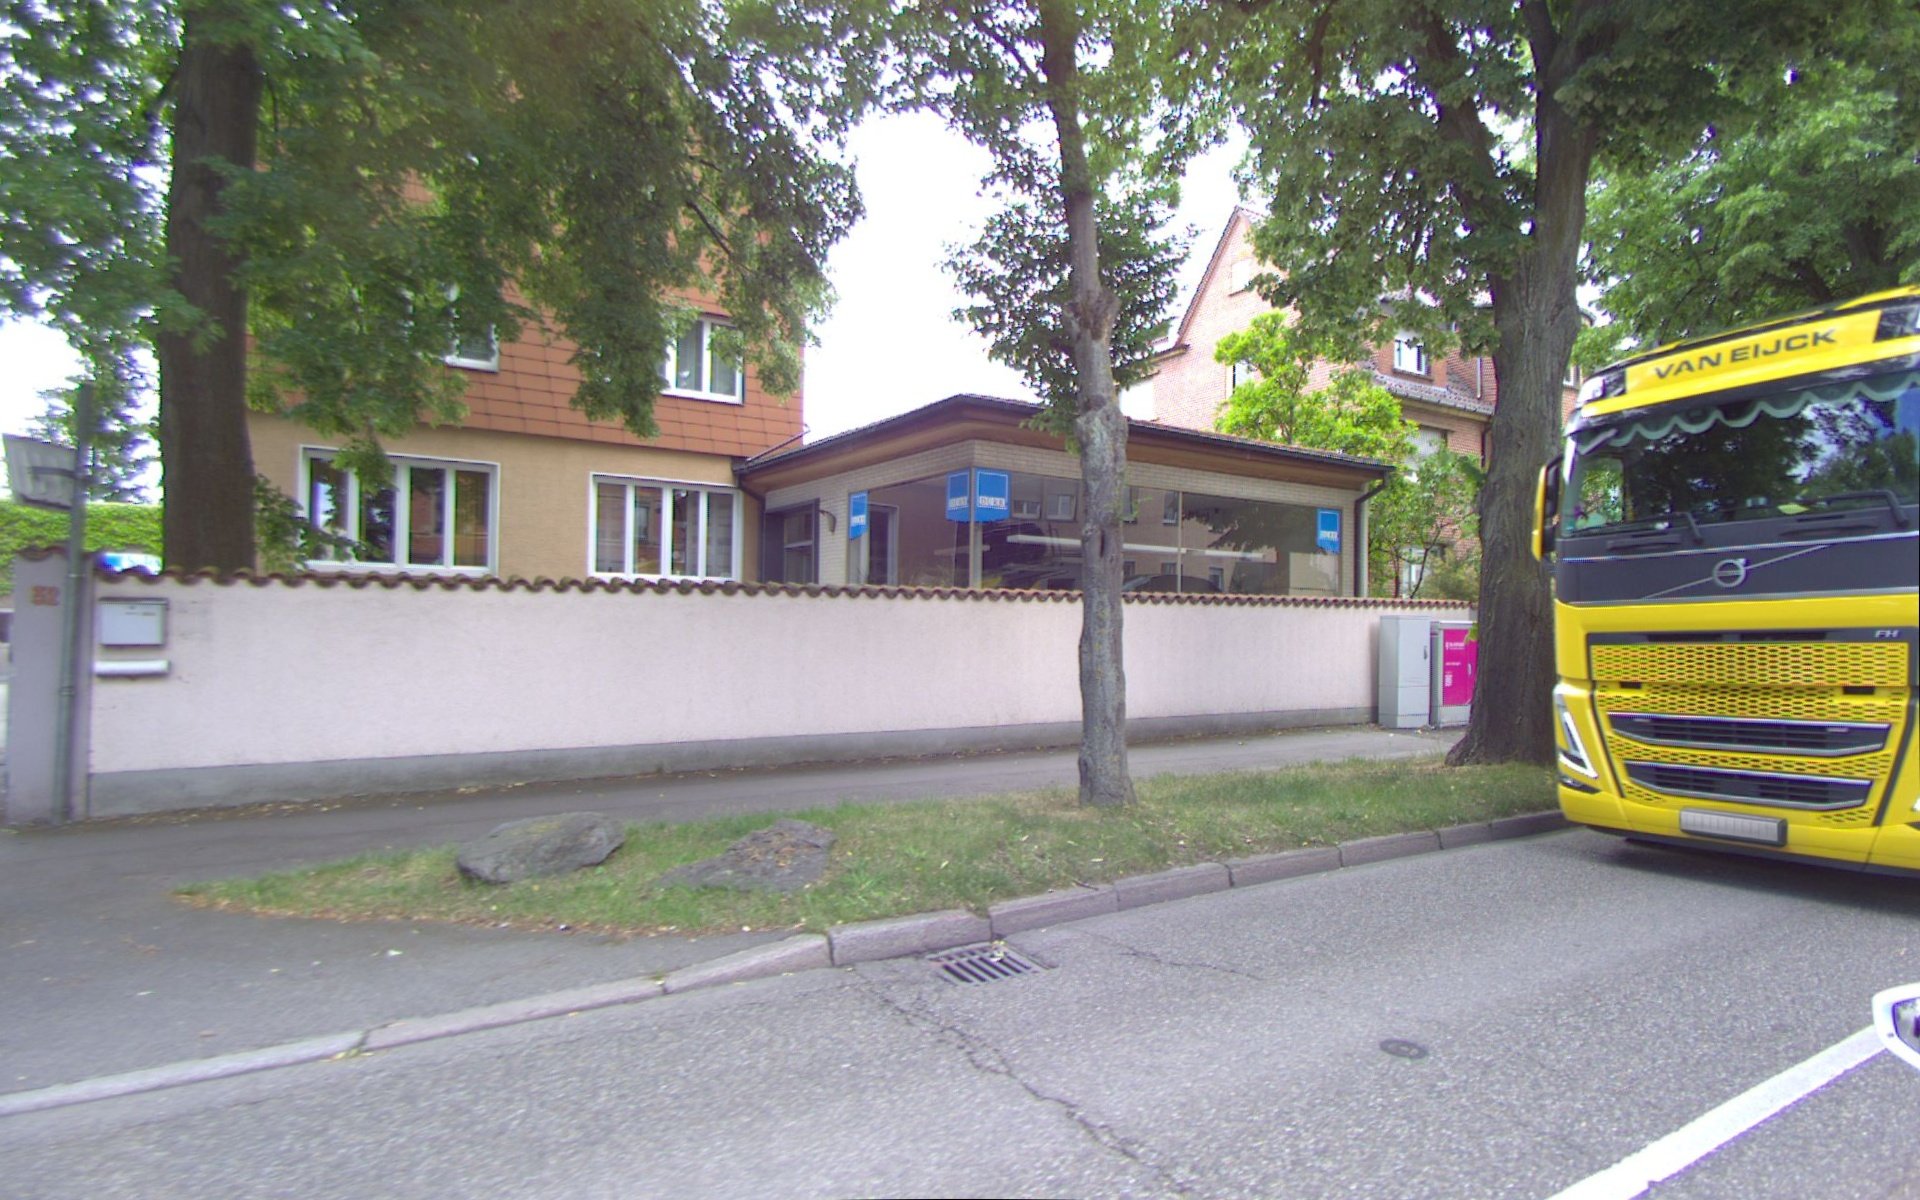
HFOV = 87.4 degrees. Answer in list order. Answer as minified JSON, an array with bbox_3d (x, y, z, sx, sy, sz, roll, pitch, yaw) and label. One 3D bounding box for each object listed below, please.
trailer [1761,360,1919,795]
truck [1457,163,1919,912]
[{"bbox_3d":[14.706,0.001,12.361,14.227,3.858,2.843,2,-1,-31],"label":"trailer"},{"bbox_3d":[7.606,-0.225,8.038,7.581,3.832,2.829,2,-1,-31],"label":"truck"}]
